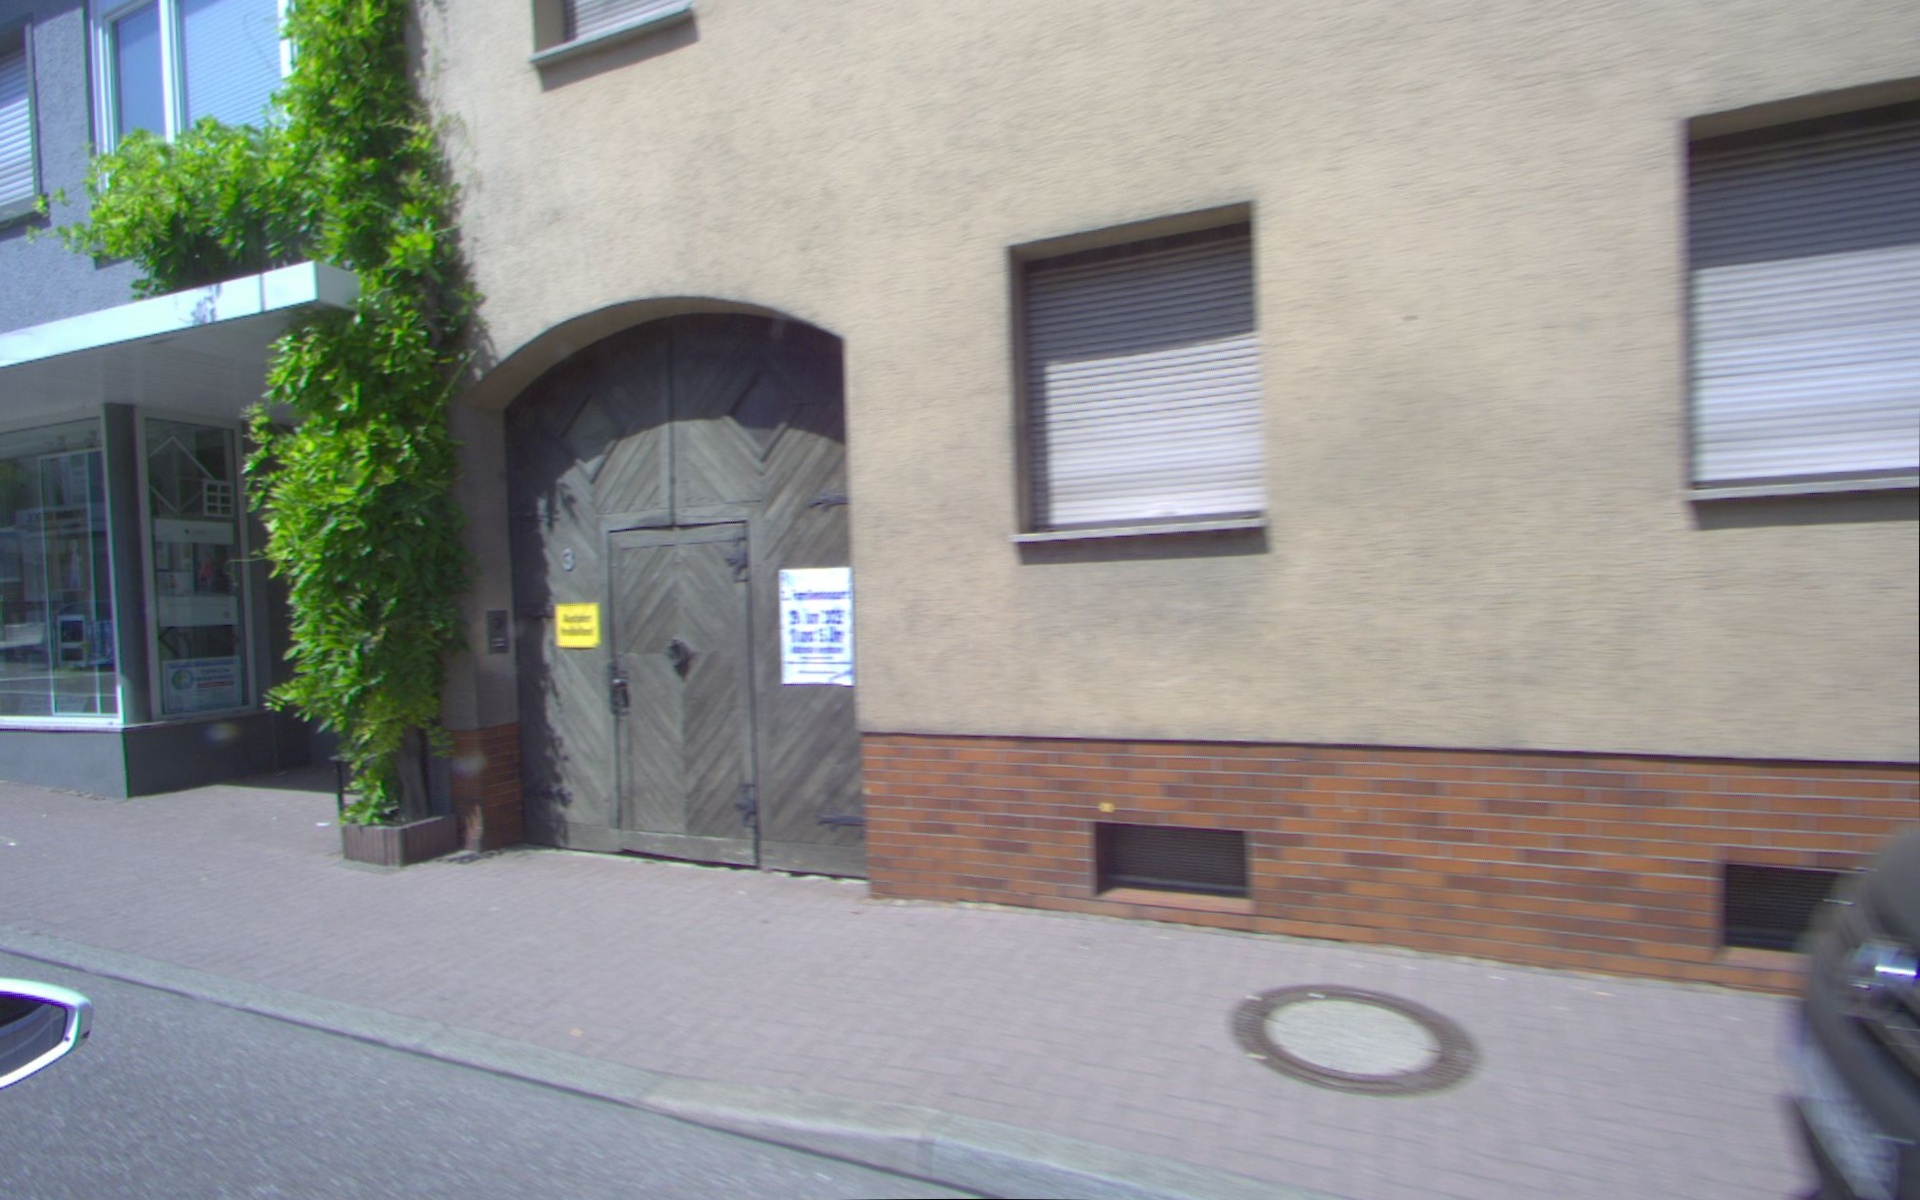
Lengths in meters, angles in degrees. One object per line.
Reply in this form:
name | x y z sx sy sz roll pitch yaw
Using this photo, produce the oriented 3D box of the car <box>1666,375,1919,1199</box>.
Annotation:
car | 3.308 0.520 0.963 4.037 1.732 1.991 -1 3 27
